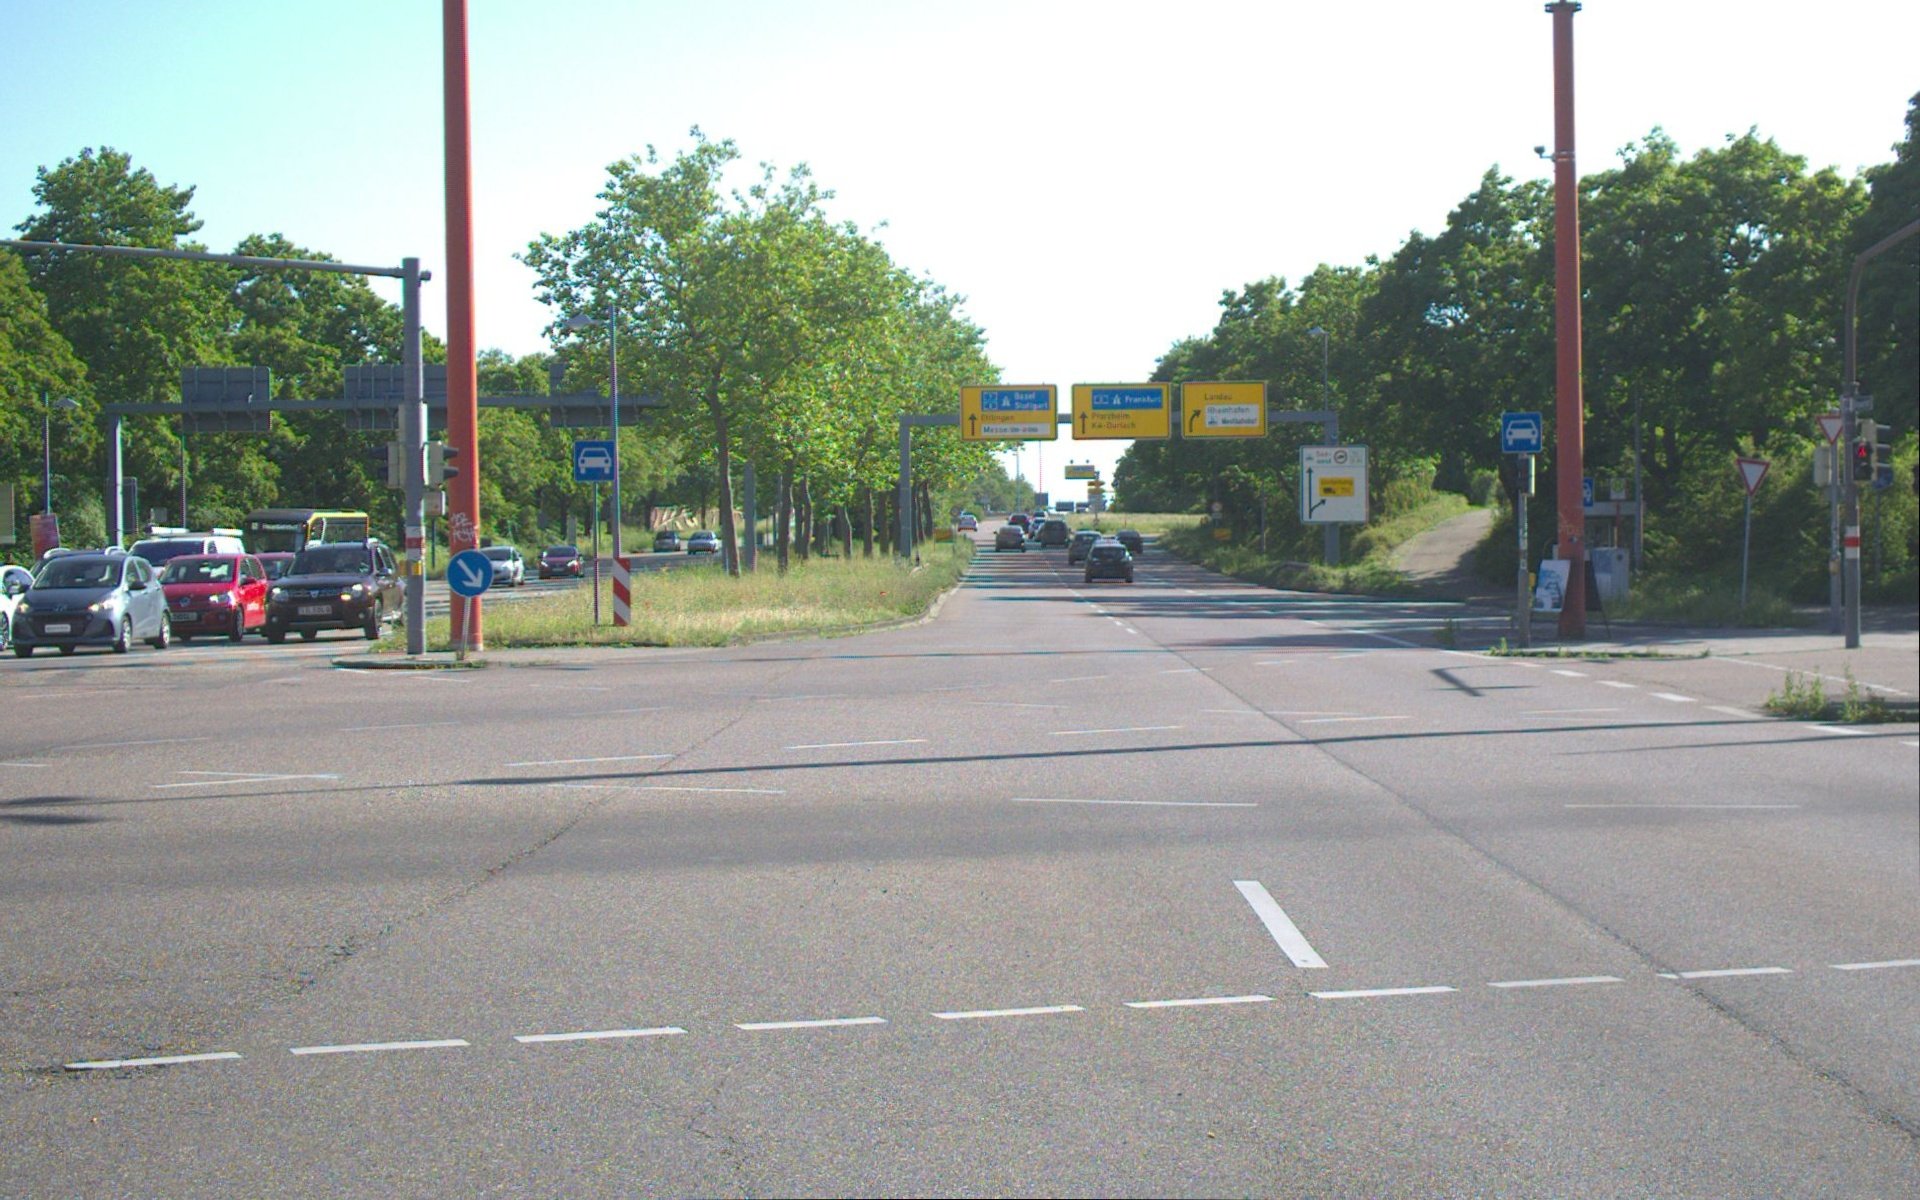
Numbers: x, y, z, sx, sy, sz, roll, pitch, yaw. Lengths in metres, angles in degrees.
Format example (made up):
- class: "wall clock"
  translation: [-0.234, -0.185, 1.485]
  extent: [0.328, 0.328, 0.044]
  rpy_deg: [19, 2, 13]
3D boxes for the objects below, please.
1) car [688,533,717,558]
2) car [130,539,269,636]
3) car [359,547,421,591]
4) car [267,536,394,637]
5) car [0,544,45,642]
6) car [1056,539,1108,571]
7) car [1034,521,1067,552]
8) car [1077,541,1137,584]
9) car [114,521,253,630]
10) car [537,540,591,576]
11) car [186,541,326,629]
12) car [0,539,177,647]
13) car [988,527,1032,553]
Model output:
- class: "car"
  translation: [-16.628, -3.509, 221.903]
  extent: [1.876, 1.568, 3.948]
  rpy_deg: [-1, 1, -5]
- class: "car"
  translation: [-12.894, -0.239, 58.484]
  extent: [1.993, 1.568, 4.122]
  rpy_deg: [-1, 1, -8]
- class: "car"
  translation: [-20.687, -1.133, 124.954]
  extent: [1.876, 1.568, 4.121]
  rpy_deg: [-1, 1, -5]
- class: "car"
  translation: [-10.243, -0.248, 56.163]
  extent: [1.876, 1.568, 4.122]
  rpy_deg: [-1, 1, -8]
- class: "car"
  translation: [-16.484, -0.121, 57.052]
  extent: [1.993, 1.568, 4.122]
  rpy_deg: [-2, 1, -8]
- class: "car"
  translation: [6.111, -2.255, 173.151]
  extent: [2.158, 1.568, 4.281]
  rpy_deg: [-1, 1, -4]
- class: "car"
  translation: [5.926, -4.184, 225.462]
  extent: [1.993, 2.007, 4.000]
  rpy_deg: [-1, 1, -1]
- class: "car"
  translation: [5.486, -1.419, 129.047]
  extent: [2.159, 1.568, 4.281]
  rpy_deg: [-1, 1, 1]
- class: "car"
  translation: [-16.108, -0.533, 71.524]
  extent: [2.062, 2.185, 4.379]
  rpy_deg: [-1, 1, -2]
- class: "car"
  translation: [-17.749, -1.898, 154.185]
  extent: [1.993, 1.568, 4.121]
  rpy_deg: [-1, 1, -1]
- class: "car"
  translation: [-13.111, -0.300, 64.263]
  extent: [1.993, 1.568, 4.121]
  rpy_deg: [-1, 1, -4]
- class: "car"
  translation: [-13.249, -0.135, 52.182]
  extent: [1.993, 1.568, 4.121]
  rpy_deg: [-1, 1, -3]
- class: "car"
  translation: [3.063, -3.675, 210.219]
  extent: [2.245, 1.568, 4.282]
  rpy_deg: [-1, 1, -5]
